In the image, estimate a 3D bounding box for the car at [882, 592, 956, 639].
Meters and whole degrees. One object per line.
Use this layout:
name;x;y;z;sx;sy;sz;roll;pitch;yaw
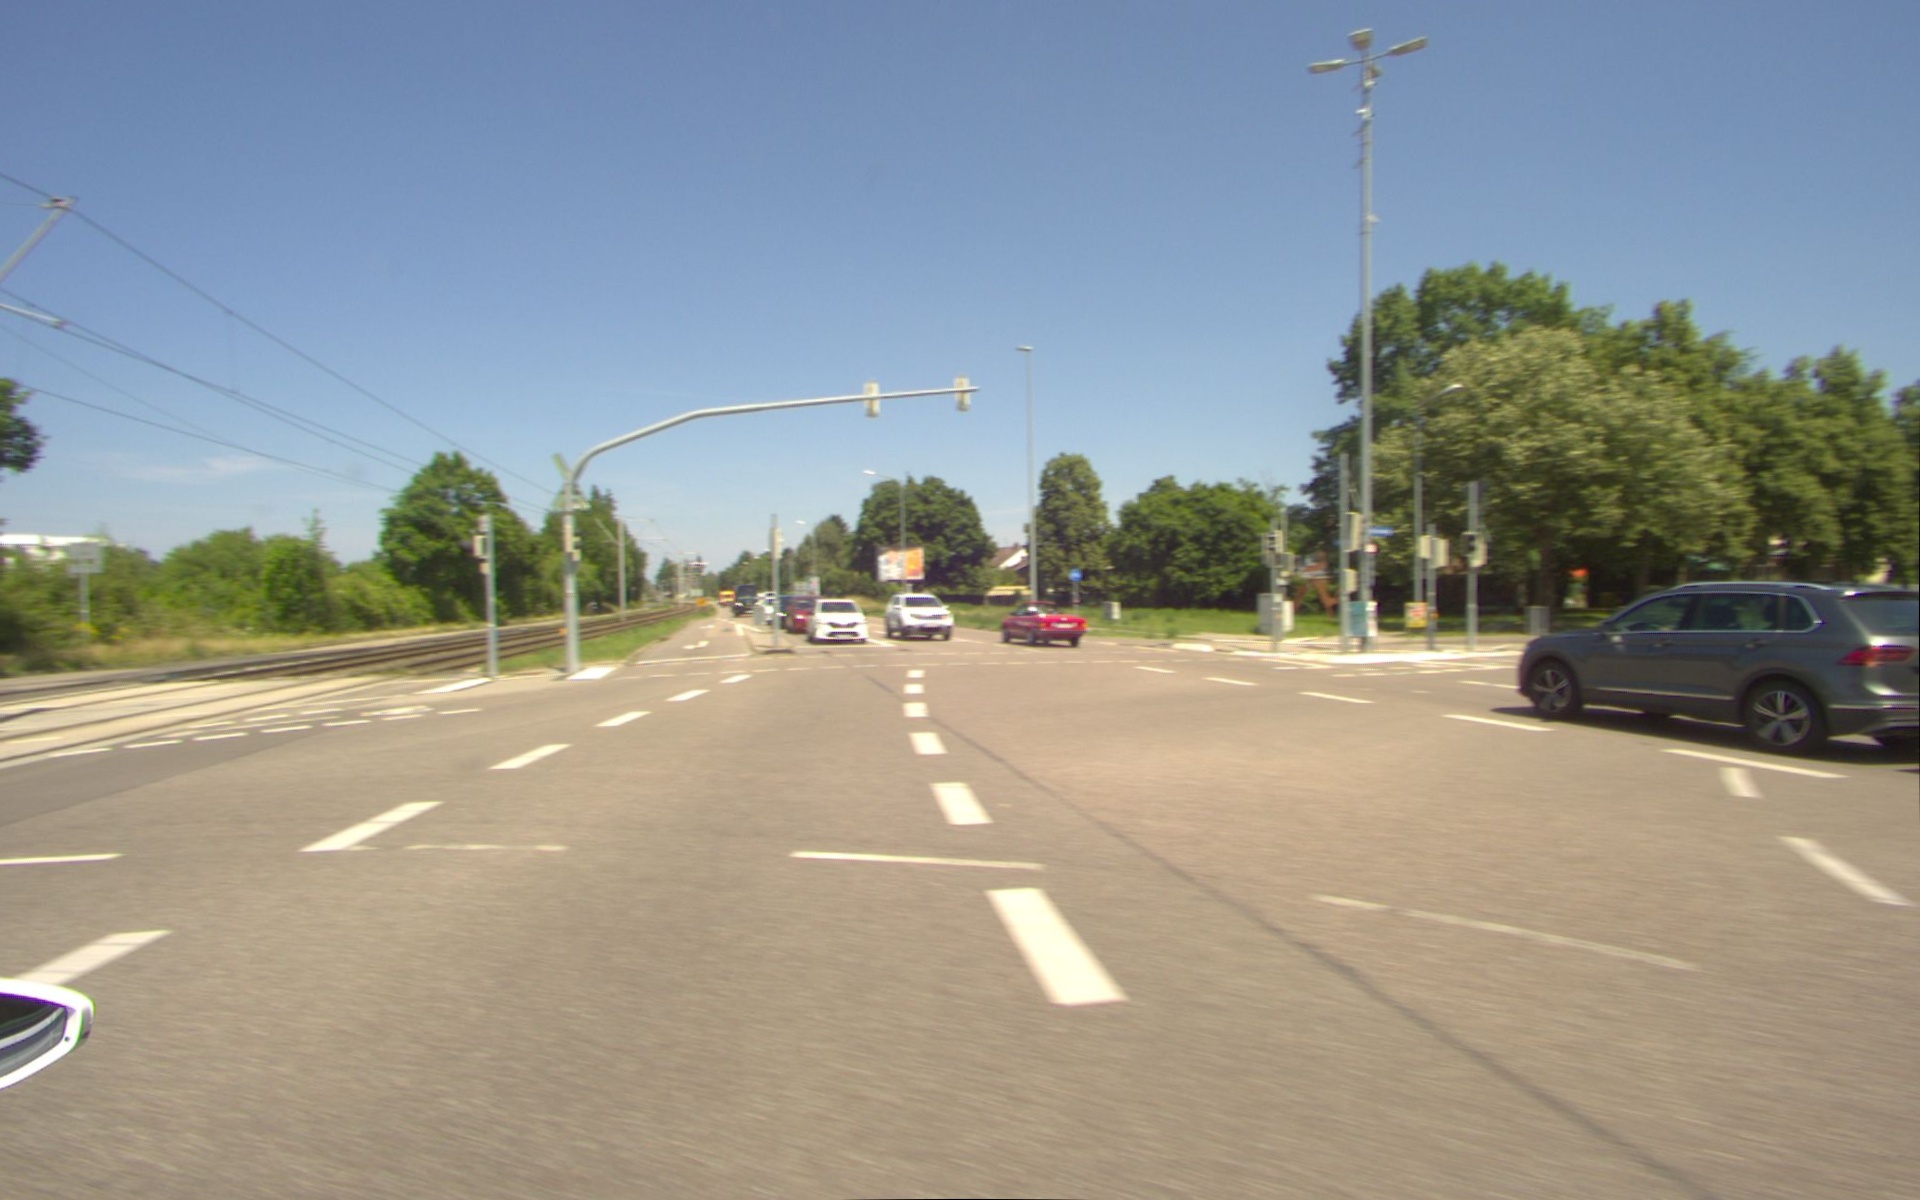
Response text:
car;-1.536;0.525;35.837;1.841;1.597;4.406;0;0;-13

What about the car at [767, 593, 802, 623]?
car;-9.943;0.438;56.492;1.699;1.597;4.406;0;0;-13

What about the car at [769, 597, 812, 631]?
car;-8.442;0.648;49.648;1.841;1.597;4.406;0;0;-13

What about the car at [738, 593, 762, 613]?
car;-17.069;0.231;81.377;1.841;1.597;4.406;0;0;-13

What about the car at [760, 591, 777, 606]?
car;-23.618;-0.146;123.682;1.741;1.778;3.993;2;0;-15

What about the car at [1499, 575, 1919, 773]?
car;8.234;0.633;10.826;1.700;1.680;4.401;0;0;-14

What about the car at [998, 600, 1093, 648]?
car;2.585;0.708;31.455;1.734;1.366;4.305;1;0;-13

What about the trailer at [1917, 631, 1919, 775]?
trailer;9.138;0.650;7.224;1.383;1.676;2.933;0;0;-14

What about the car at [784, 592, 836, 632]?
car;-6.394;0.478;42.249;1.841;1.597;4.406;0;0;-13

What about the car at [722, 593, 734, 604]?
car;-36.711;-0.268;158.533;1.841;1.707;4.406;0;0;-13

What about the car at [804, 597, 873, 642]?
car;-4.136;0.597;33.526;1.841;1.407;4.406;0;0;-13
